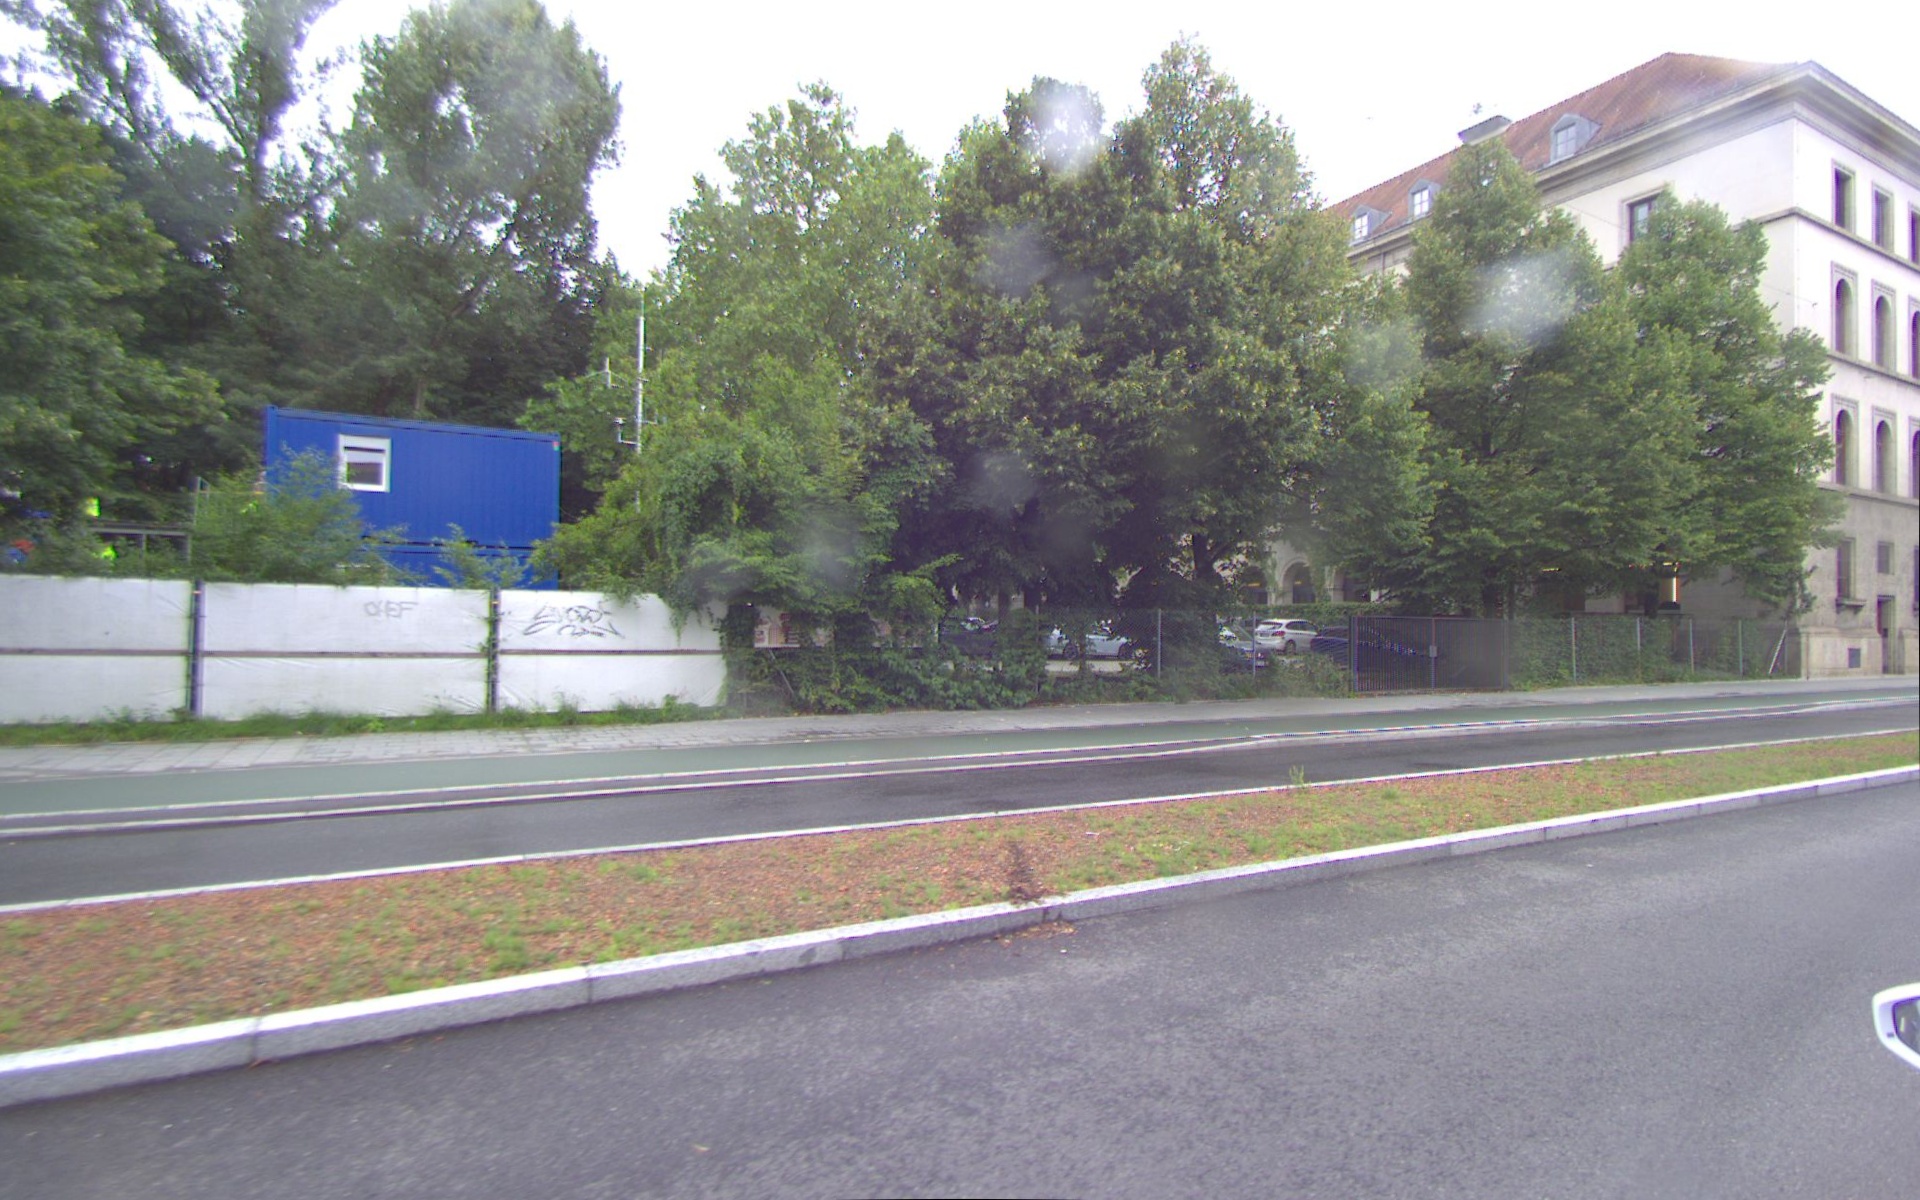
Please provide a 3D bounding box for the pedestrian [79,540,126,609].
[{"bbox_3d":[-22.992,-0.658,26.961,0.824,1.798,0.789,1,-1,-33],"label":"pedestrian"}]

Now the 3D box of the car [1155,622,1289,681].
[{"bbox_3d":[7.655,1.464,29.743,1.778,1.609,4.139,1,-2,-22],"label":"car"}]

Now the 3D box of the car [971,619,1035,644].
[{"bbox_3d":[2.854,2.087,66.535,3.952,1.564,1.762,1,-1,-30],"label":"car"}]

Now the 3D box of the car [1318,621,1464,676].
[{"bbox_3d":[14.032,1.535,32.961,1.782,1.671,4.245,1,-2,-28],"label":"car"}]

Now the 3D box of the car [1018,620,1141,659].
[{"bbox_3d":[4.714,1.546,39.479,4.577,1.460,1.984,1,-1,-30],"label":"car"}]

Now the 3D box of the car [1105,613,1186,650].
[{"bbox_3d":[9.921,1.682,53.763,3.947,1.954,1.839,1,-1,-26],"label":"car"}]

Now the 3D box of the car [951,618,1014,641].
[{"bbox_3d":[1.557,2.013,68.543,3.952,1.564,1.762,1,-1,-30],"label":"car"}]

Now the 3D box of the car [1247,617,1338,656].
[{"bbox_3d":[14.923,1.622,45.000,3.952,1.661,1.657,1,-1,-29],"label":"car"}]

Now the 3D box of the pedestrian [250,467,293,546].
[{"bbox_3d":[-16.848,-2.266,24.586,0.787,1.798,0.826,1,-1,-32],"label":"pedestrian"}]

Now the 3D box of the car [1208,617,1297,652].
[{"bbox_3d":[13.774,1.627,47.254,3.952,1.564,1.762,1,-1,-30],"label":"car"}]

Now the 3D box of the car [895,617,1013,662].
[{"bbox_3d":[-0.190,1.417,36.420,3.954,1.564,1.762,1,-1,-31],"label":"car"}]
